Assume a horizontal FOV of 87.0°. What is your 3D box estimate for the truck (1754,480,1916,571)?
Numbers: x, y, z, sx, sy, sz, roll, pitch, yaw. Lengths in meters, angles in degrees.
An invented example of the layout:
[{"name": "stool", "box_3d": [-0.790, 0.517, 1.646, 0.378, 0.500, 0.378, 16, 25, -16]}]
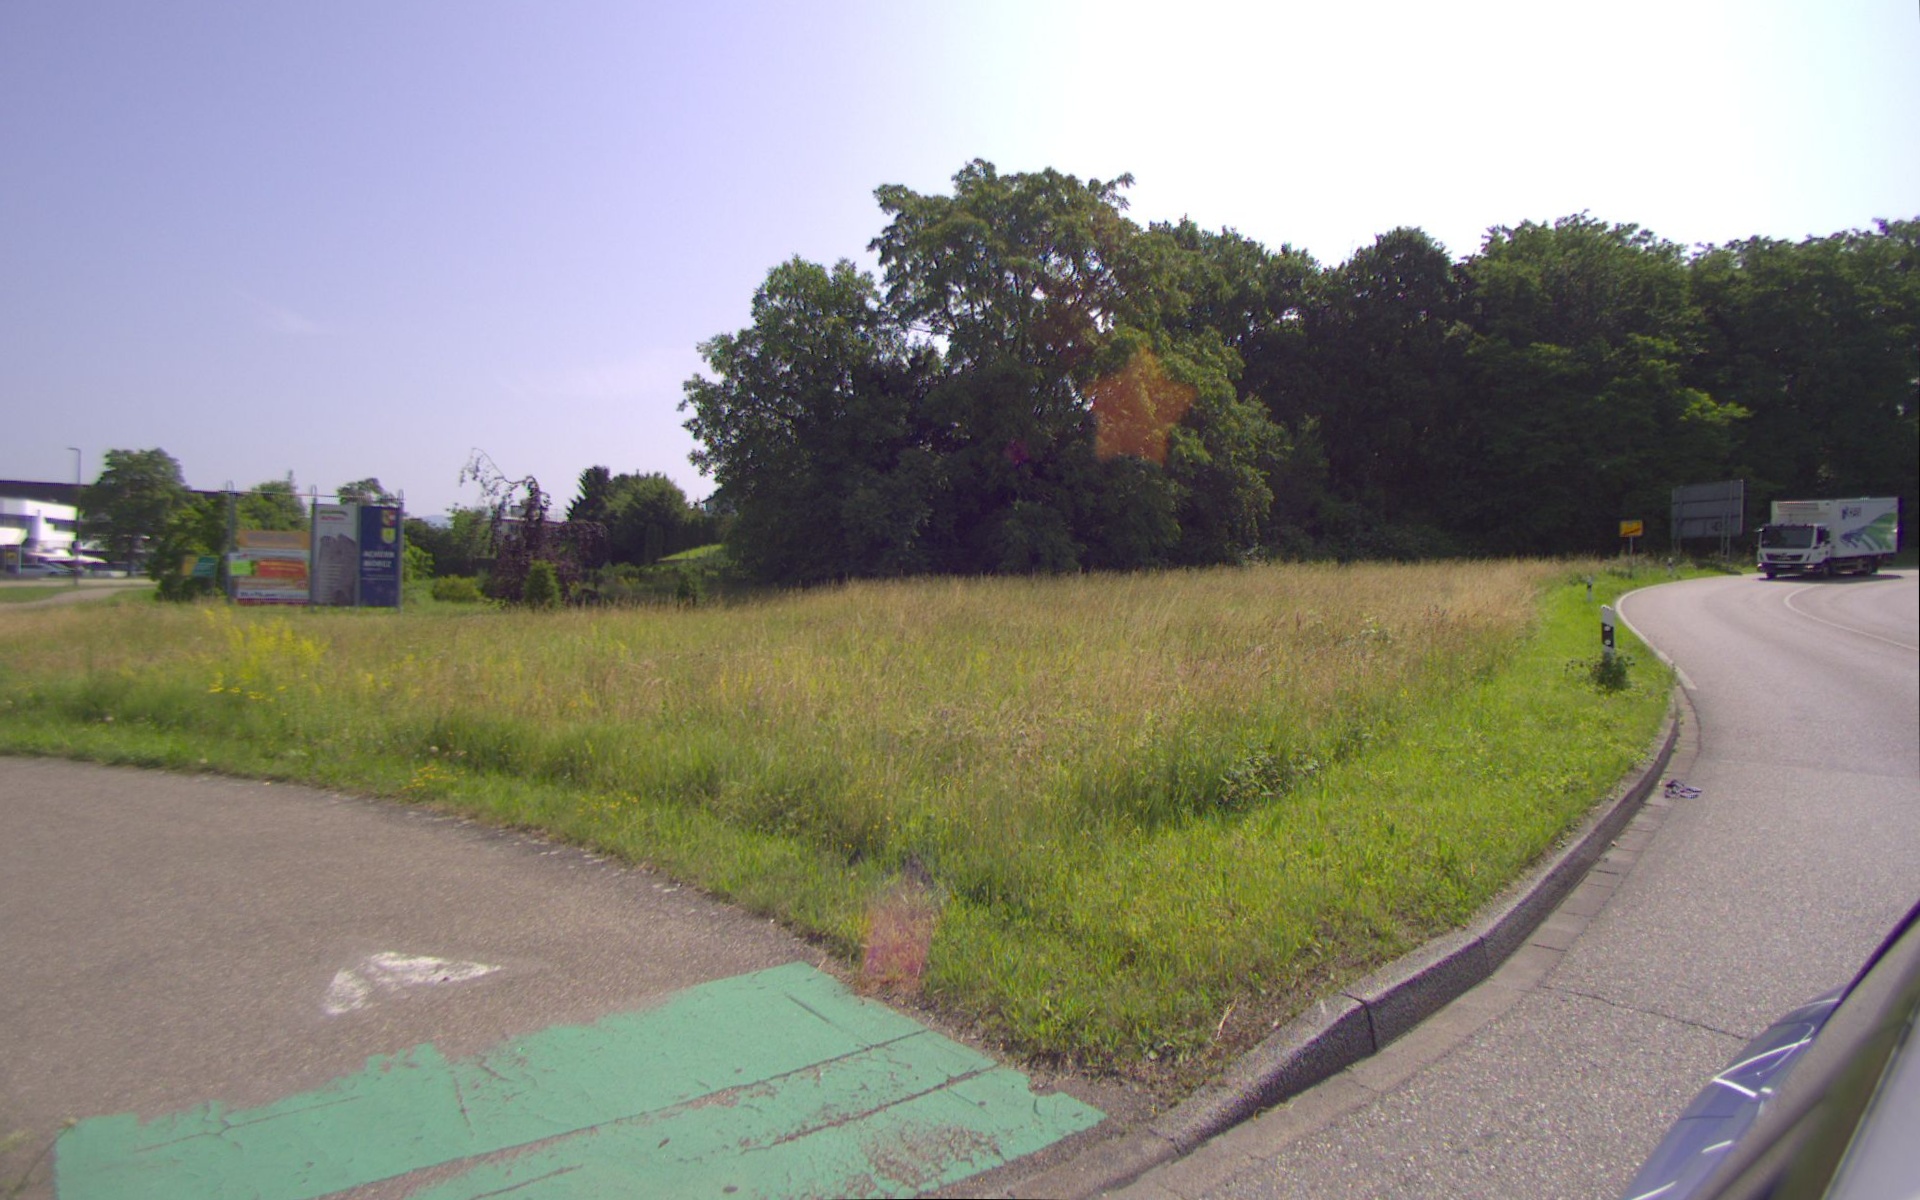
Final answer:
[{"name": "truck", "box_3d": [40.964, -3.358, 47.285, 8.843, 3.877, 2.903, -1, 1, -29]}]
